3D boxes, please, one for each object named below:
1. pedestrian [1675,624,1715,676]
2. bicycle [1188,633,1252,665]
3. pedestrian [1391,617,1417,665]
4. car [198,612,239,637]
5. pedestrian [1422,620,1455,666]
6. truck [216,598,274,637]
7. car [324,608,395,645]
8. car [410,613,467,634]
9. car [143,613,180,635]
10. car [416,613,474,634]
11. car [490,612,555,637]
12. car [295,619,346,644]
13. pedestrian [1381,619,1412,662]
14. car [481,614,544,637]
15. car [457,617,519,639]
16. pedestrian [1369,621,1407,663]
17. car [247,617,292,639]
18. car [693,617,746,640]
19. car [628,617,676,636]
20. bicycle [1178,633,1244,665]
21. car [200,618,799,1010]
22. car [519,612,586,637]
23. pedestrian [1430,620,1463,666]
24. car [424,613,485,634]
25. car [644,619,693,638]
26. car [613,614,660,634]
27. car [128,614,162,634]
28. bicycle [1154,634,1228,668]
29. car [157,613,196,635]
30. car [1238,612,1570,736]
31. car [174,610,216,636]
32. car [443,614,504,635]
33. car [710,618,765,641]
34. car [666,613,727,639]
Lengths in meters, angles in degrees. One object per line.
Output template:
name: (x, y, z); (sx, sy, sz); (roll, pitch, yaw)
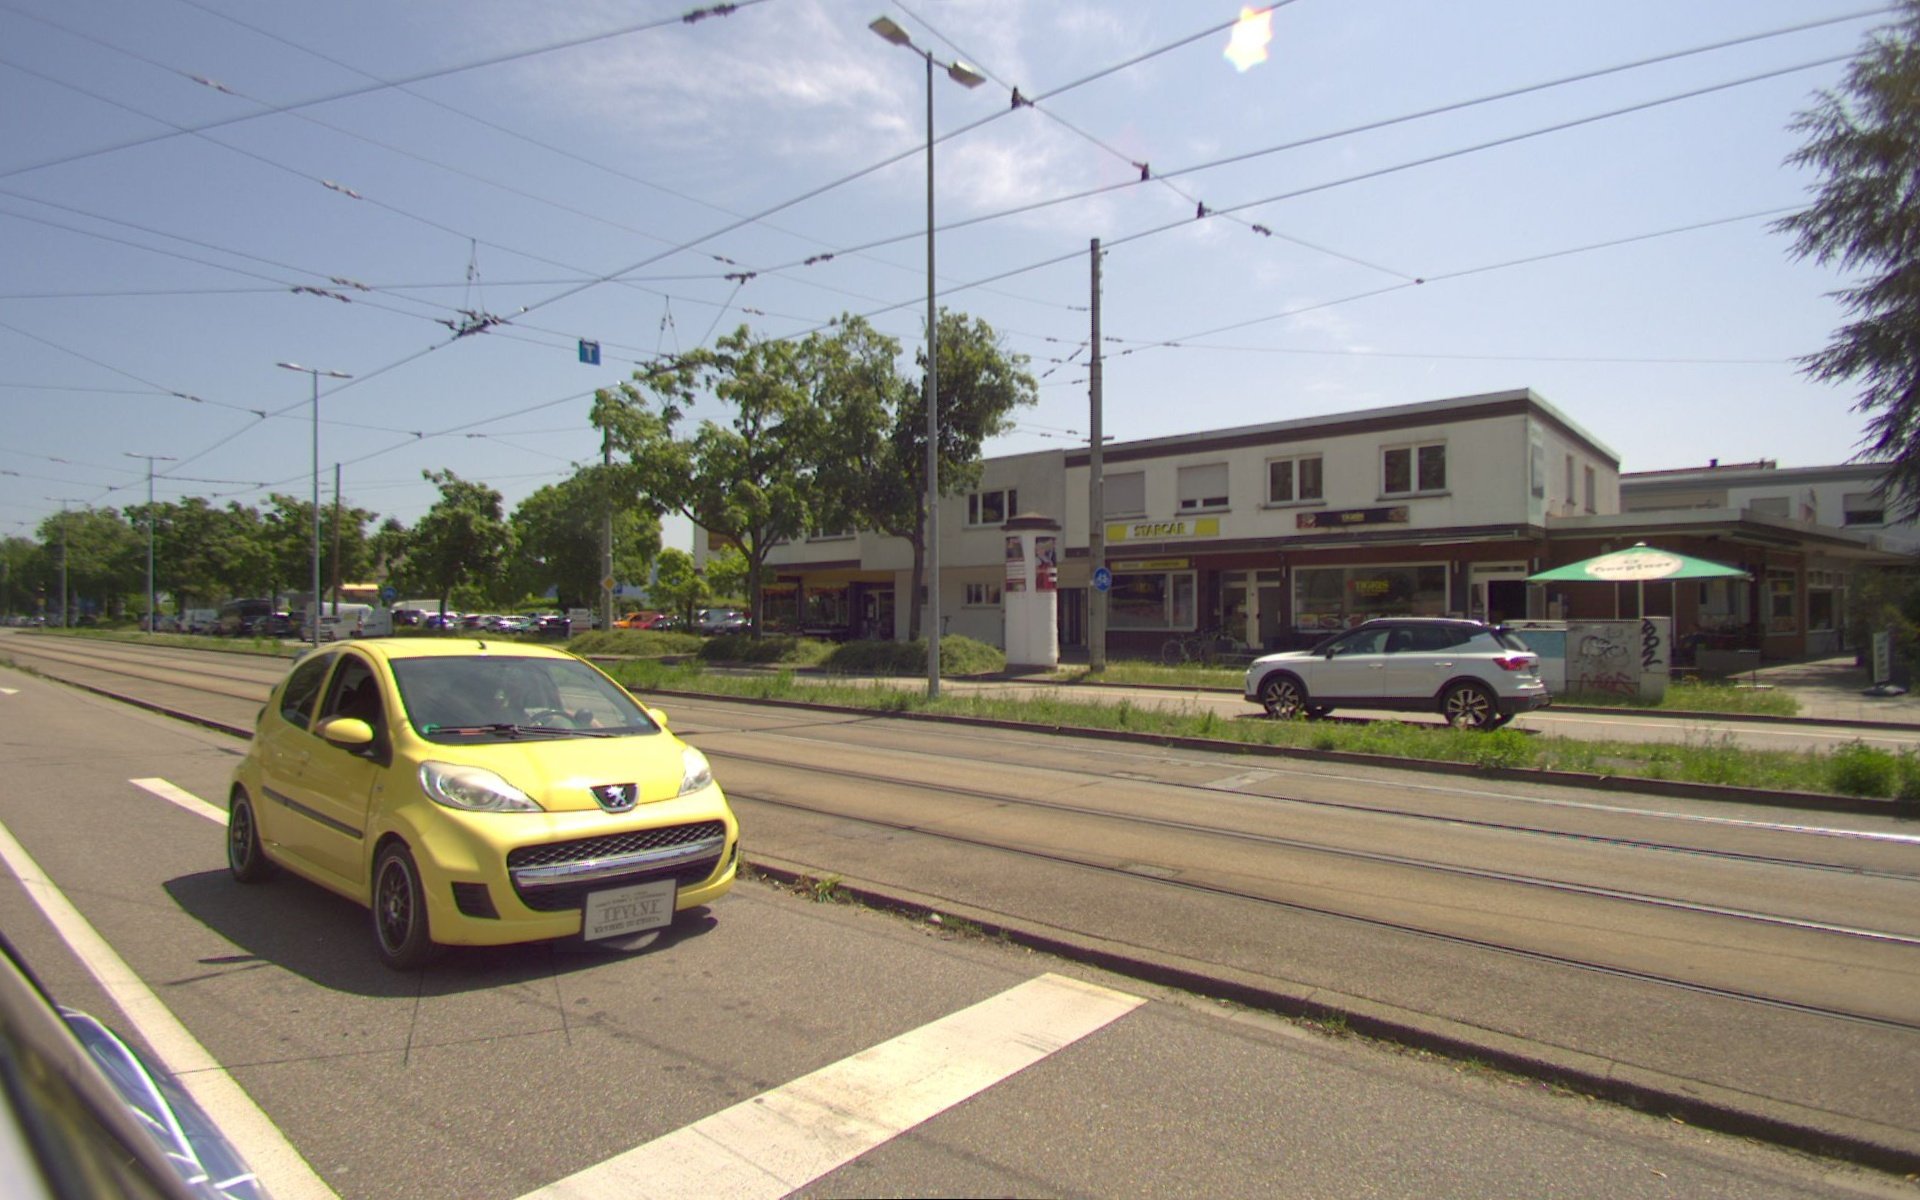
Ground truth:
pedestrian: (16.531, 1.111, 22.768); (0.674, 1.136, 0.512); (-1, -2, 42)
bicycle: (7.608, 1.418, 29.664); (1.787, 0.854, 0.522); (-1, 1, 42)
pedestrian: (11.715, 1.061, 26.700); (0.491, 1.248, 0.568); (-1, -2, 41)
car: (-55.199, 1.833, 75.322); (3.867, 1.807, 1.660); (-1, -1, 41)
pedestrian: (12.621, 1.129, 26.710); (0.674, 1.208, 0.512); (-1, -2, 42)
truck: (-49.016, 1.190, 69.321); (4.928, 2.561, 2.196); (-1, -2, 42)
car: (-32.251, 1.392, 54.332); (4.660, 1.898, 1.972); (-1, -2, 42)
car: (-38.399, 1.711, 74.503); (1.600, 1.517, 3.374); (-1, -1, 36)
car: (-67.397, 1.989, 85.377); (4.200, 1.807, 1.660); (-1, -2, 41)
car: (-36.775, 1.676, 72.308); (1.600, 1.404, 3.374); (-1, -1, 36)
car: (-27.334, 1.510, 63.257); (1.596, 1.502, 3.374); (-1, -1, 36)
car: (-37.101, 1.806, 58.662); (3.569, 1.397, 1.652); (-1, -2, 43)
pedestrian: (12.142, 1.110, 28.146); (0.674, 1.172, 0.512); (-1, -2, 42)
car: (-28.767, 1.621, 65.086); (1.600, 1.404, 3.374); (-1, -1, 36)
car: (-30.827, 1.810, 66.152); (1.600, 1.404, 3.374); (-1, -1, 36)
pedestrian: (11.658, 1.136, 27.556); (0.810, 1.136, 0.558); (-1, -2, 42)
car: (-44.487, 1.798, 65.220); (3.670, 1.397, 1.652); (-1, -2, 43)
car: (-16.887, 2.007, 71.196); (1.532, 1.549, 3.449); (-1, -2, 38)
car: (-23.857, 2.040, 78.492); (1.505, 1.469, 3.313); (-1, -2, 38)
bicycle: (7.238, 1.400, 29.241); (1.787, 0.854, 0.522); (-1, 1, 42)
car: (-2.717, 0.861, 5.607); (3.654, 1.432, 1.599); (0, -3, 41)
car: (-25.033, 1.499, 62.216); (1.790, 1.502, 3.374); (-1, -1, 36)
pedestrian: (13.048, 1.153, 27.163); (0.674, 1.218, 0.512); (-1, -2, 42)
car: (-34.944, 1.642, 70.000); (1.600, 1.404, 3.374); (-1, -1, 36)
car: (-21.990, 2.171, 76.408); (1.505, 1.400, 3.313); (-1, -2, 38)
car: (-25.682, 1.896, 80.350); (1.505, 1.573, 3.313); (-1, -2, 38)
car: (-72.284, 2.105, 89.767); (3.821, 1.716, 1.660); (-1, -1, 41)
bicycle: (6.470, 1.415, 28.393); (1.958, 0.854, 0.596); (-1, 1, 42)
car: (-63.694, 1.941, 82.244); (4.200, 1.807, 1.660); (-1, -1, 41)
car: (6.439, 1.008, 14.850); (4.133, 1.564, 1.975); (-1, -4, 38)
car: (-59.380, 1.792, 78.518); (4.507, 1.989, 1.660); (-1, -1, 41)
car: (-32.975, 1.641, 68.599); (1.600, 1.404, 3.374); (-1, -1, 36)
car: (-15.245, 2.007, 69.339); (1.622, 1.549, 3.449); (-1, -2, 38)
car: (-18.819, 1.849, 72.512); (1.812, 1.798, 3.948); (-1, -2, 38)
